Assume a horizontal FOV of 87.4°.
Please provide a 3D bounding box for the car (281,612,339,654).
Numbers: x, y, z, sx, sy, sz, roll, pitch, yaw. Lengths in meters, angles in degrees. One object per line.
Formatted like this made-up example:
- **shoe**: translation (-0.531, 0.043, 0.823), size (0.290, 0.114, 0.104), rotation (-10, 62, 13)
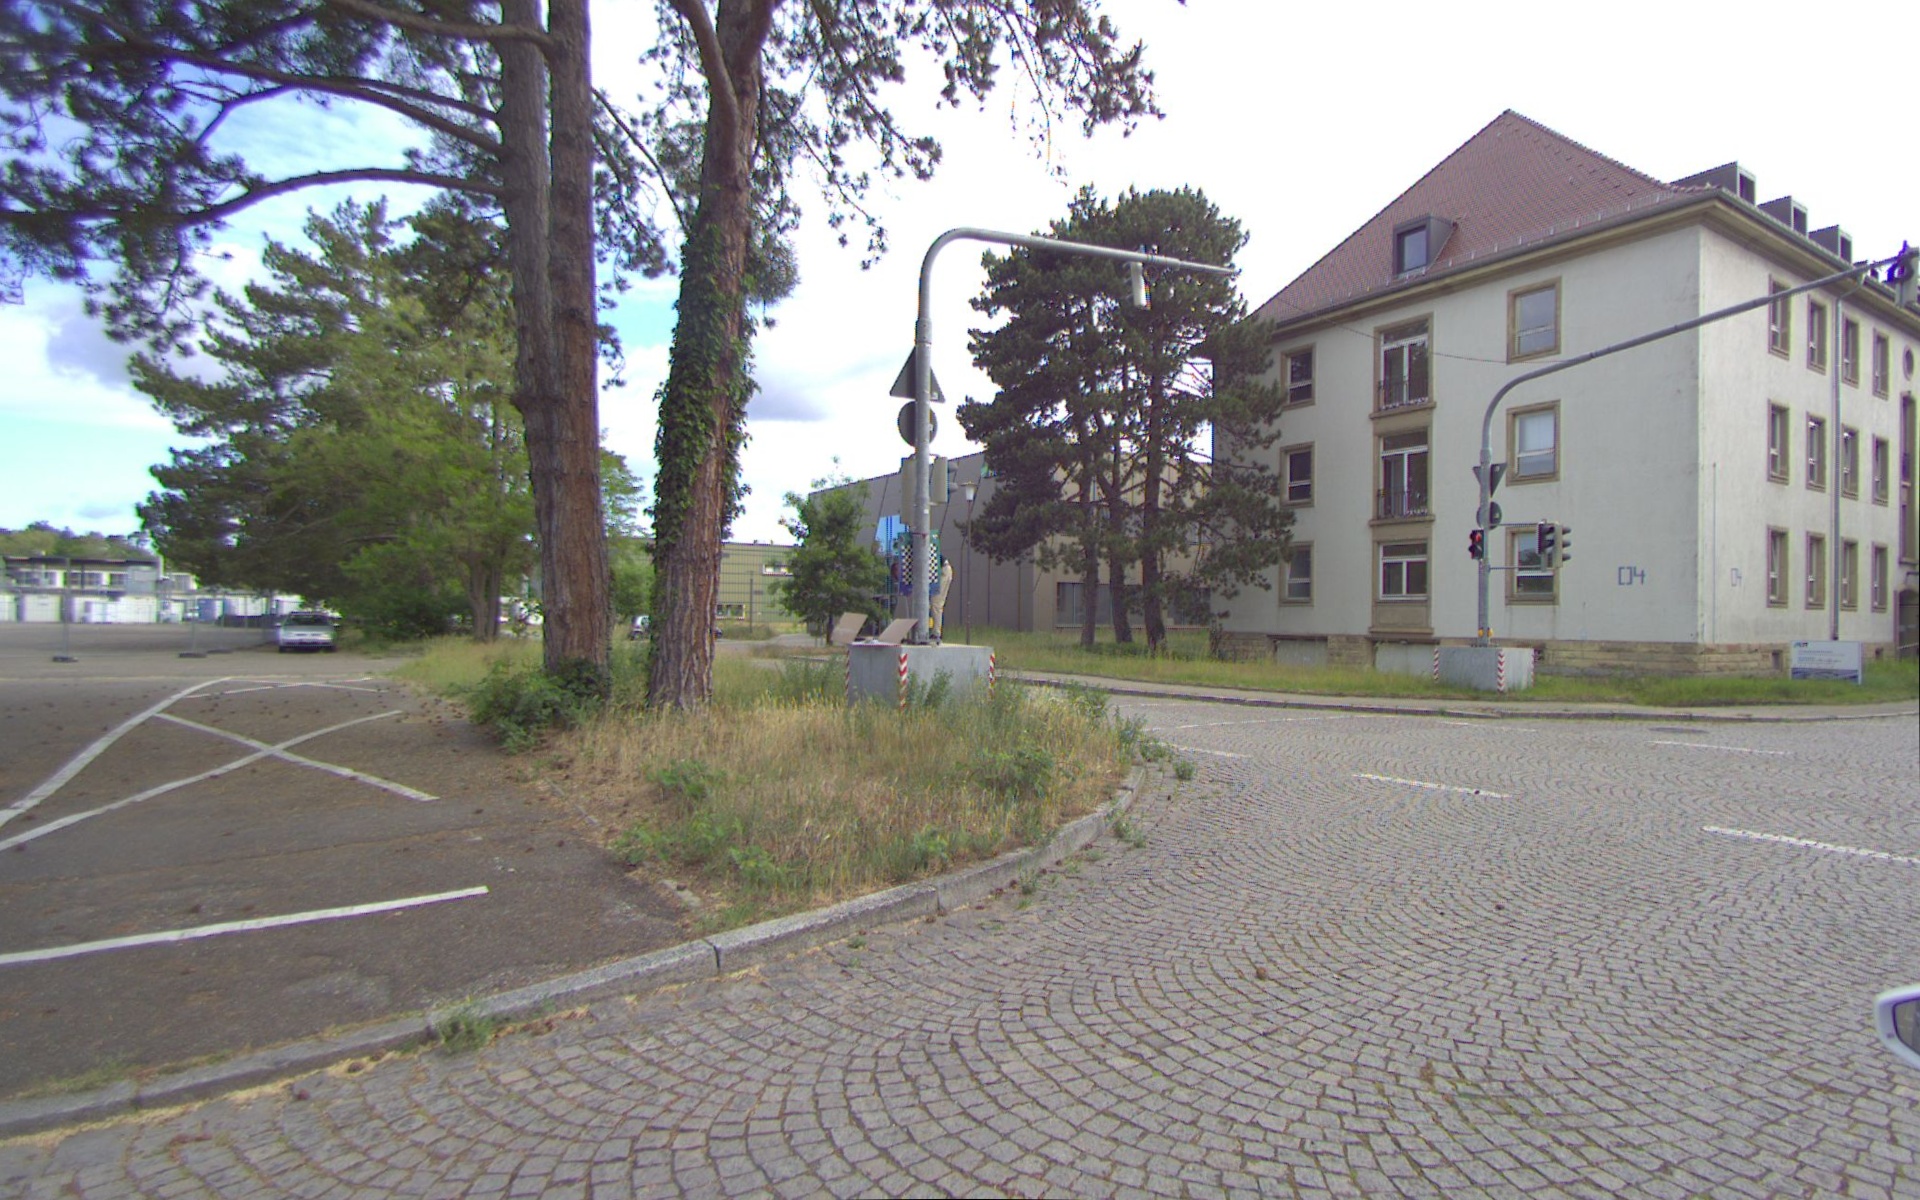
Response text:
- **car**: translation (-23.649, 1.167, 36.496), size (1.680, 1.410, 3.962), rotation (1, -1, -34)

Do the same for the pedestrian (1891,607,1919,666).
- **pedestrian**: translation (33.152, 1.257, 34.770), size (1.009, 2.040, 1.083), rotation (1, -1, -27)

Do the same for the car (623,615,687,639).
- **car**: translation (-19.887, 1.764, 65.411), size (3.618, 1.449, 1.983), rotation (-1, 0, -32)

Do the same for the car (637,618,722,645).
- **car**: translation (-16.418, 1.814, 58.854), size (4.409, 1.449, 1.983), rotation (-1, 0, -32)
